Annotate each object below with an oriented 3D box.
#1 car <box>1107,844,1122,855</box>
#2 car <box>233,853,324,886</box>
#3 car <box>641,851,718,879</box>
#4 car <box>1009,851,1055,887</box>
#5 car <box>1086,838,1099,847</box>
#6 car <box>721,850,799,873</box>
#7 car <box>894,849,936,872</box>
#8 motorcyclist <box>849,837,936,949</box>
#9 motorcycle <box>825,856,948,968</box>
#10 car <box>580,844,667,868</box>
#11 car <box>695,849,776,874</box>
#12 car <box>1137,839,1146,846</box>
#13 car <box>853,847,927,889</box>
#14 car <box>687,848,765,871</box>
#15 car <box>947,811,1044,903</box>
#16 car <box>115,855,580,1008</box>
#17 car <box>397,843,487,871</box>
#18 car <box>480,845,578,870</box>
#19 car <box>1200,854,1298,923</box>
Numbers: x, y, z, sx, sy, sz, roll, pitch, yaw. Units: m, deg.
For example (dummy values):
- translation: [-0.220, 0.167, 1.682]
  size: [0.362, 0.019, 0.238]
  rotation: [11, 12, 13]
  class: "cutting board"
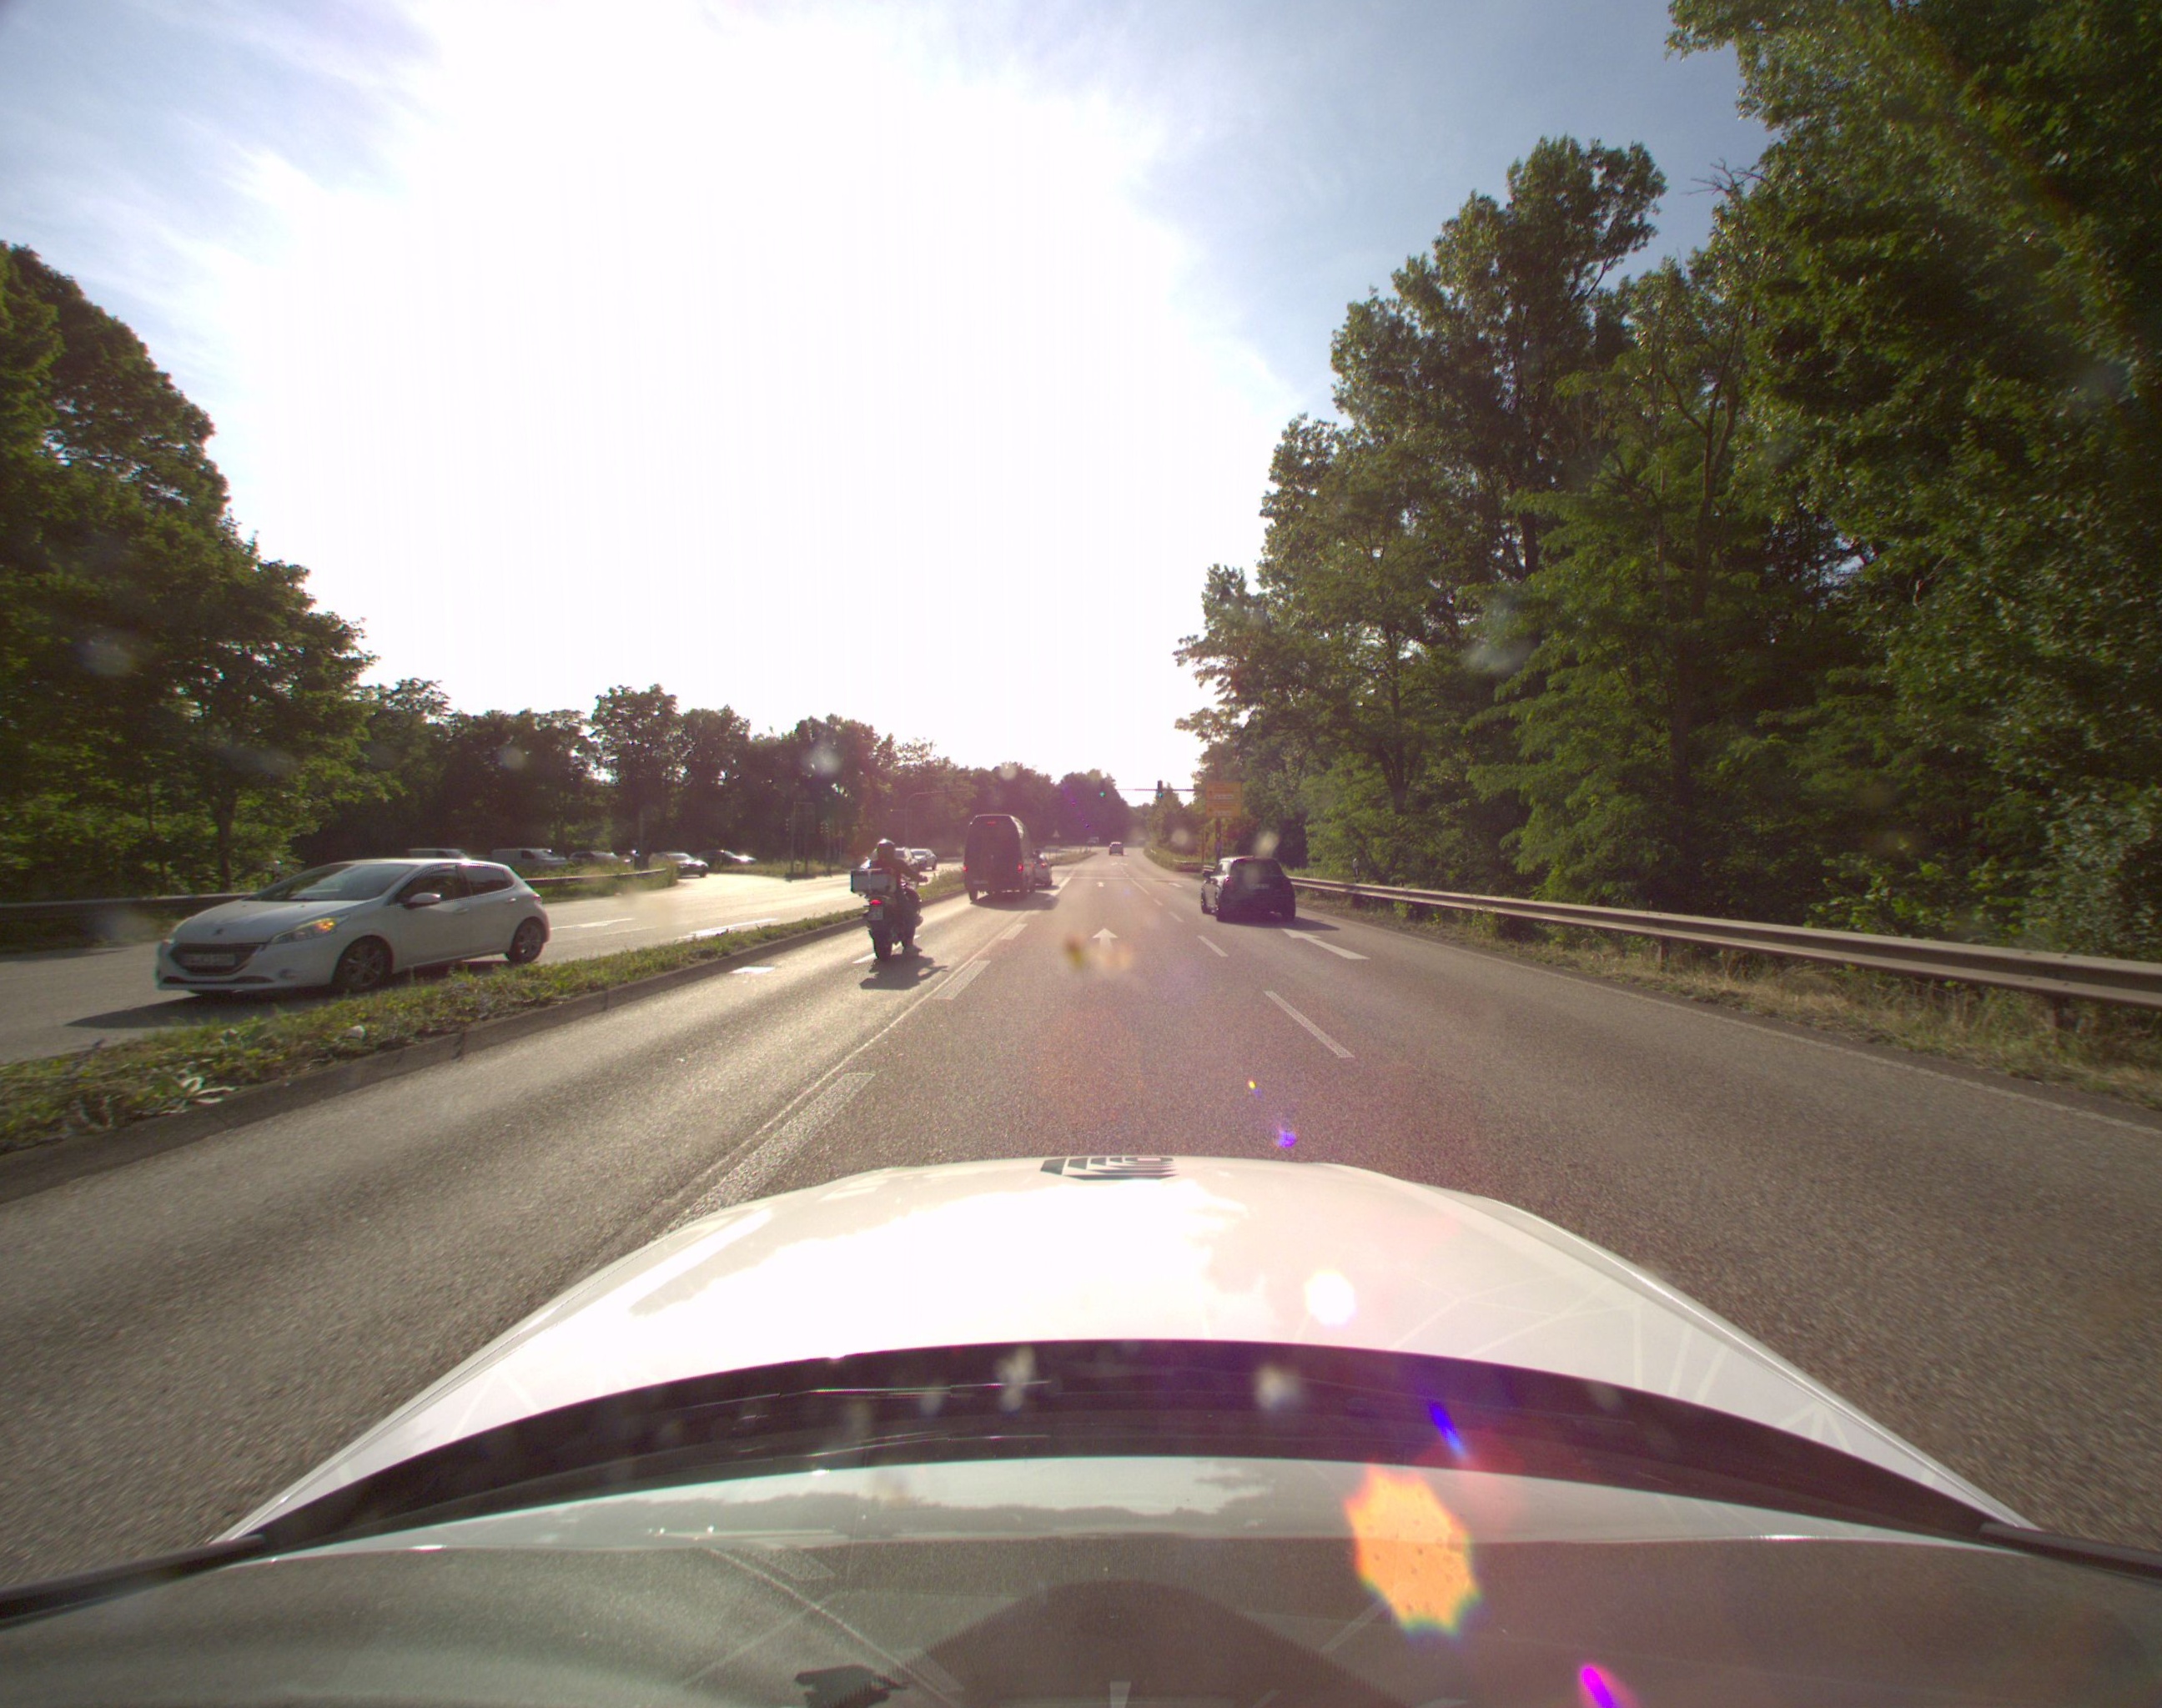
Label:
- translation: [4.471, -0.589, 108.263]
  size: [1.753, 1.380, 3.977]
  rotation: [1, 0, 5]
  class: "car"
- translation: [-56.175, 1.060, 57.042]
  size: [4.609, 2.096, 2.198]
  rotation: [1, 0, 10]
  class: "car"
- translation: [-23.862, 0.655, 48.391]
  size: [4.504, 1.490, 2.013]
  rotation: [2, 0, 32]
  class: "car"
- translation: [-2.154, 0.648, 36.818]
  size: [1.639, 1.489, 4.106]
  rotation: [-1, 0, 2]
  class: "car"
- translation: [2.463, -2.477, 173.954]
  size: [1.838, 1.786, 4.685]
  rotation: [1, 0, 12]
  class: "car"
- translation: [-23.135, 0.506, 58.834]
  size: [4.694, 1.490, 2.168]
  rotation: [1, 0, 0]
  class: "car"
- translation: [-11.625, 0.451, 57.384]
  size: [1.876, 1.503, 4.267]
  rotation: [-2, 0, 3]
  class: "car"
- translation: [-2.877, 0.572, 12.569]
  size: [0.879, 1.616, 1.292]
  rotation: [1, 0, 6]
  class: "motorcyclist"
- translation: [-2.895, 0.808, 12.535]
  size: [0.904, 1.453, 2.694]
  rotation: [-3, 0, 6]
  class: "motorcycle"
- translation: [-32.009, 0.125, 57.080]
  size: [4.943, 1.490, 2.214]
  rotation: [1, 0, 9]
  class: "car"
- translation: [-22.364, 0.482, 52.812]
  size: [4.379, 1.490, 2.006]
  rotation: [1, 0, 11]
  class: "car"
- translation: [13.821, -2.705, 185.427]
  size: [1.739, 1.537, 3.926]
  rotation: [1, 0, 0]
  class: "car"
- translation: [-8.588, 0.582, 37.096]
  size: [2.068, 1.763, 4.758]
  rotation: [-2, 0, 1]
  class: "car"
- translation: [-24.328, 0.361, 55.959]
  size: [4.393, 1.490, 2.000]
  rotation: [1, 0, 0]
  class: "car"
- translation: [-2.877, 0.070, 29.364]
  size: [2.200, 2.888, 7.019]
  rotation: [-1, 0, 4]
  class: "car"
- translation: [-8.437, 0.757, 10.030]
  size: [1.781, 1.411, 4.228]
  rotation: [1, 0, 2]
  class: "car"
- translation: [-43.144, 0.181, 55.017]
  size: [4.609, 1.727, 2.198]
  rotation: [1, 0, 10]
  class: "car"
- translation: [-36.347, 0.213, 53.699]
  size: [5.023, 1.490, 2.454]
  rotation: [1, 0, 10]
  class: "car"
- translation: [3.891, 0.753, 19.460]
  size: [1.811, 1.467, 3.877]
  rotation: [0, 0, 4]
  class: "car"
